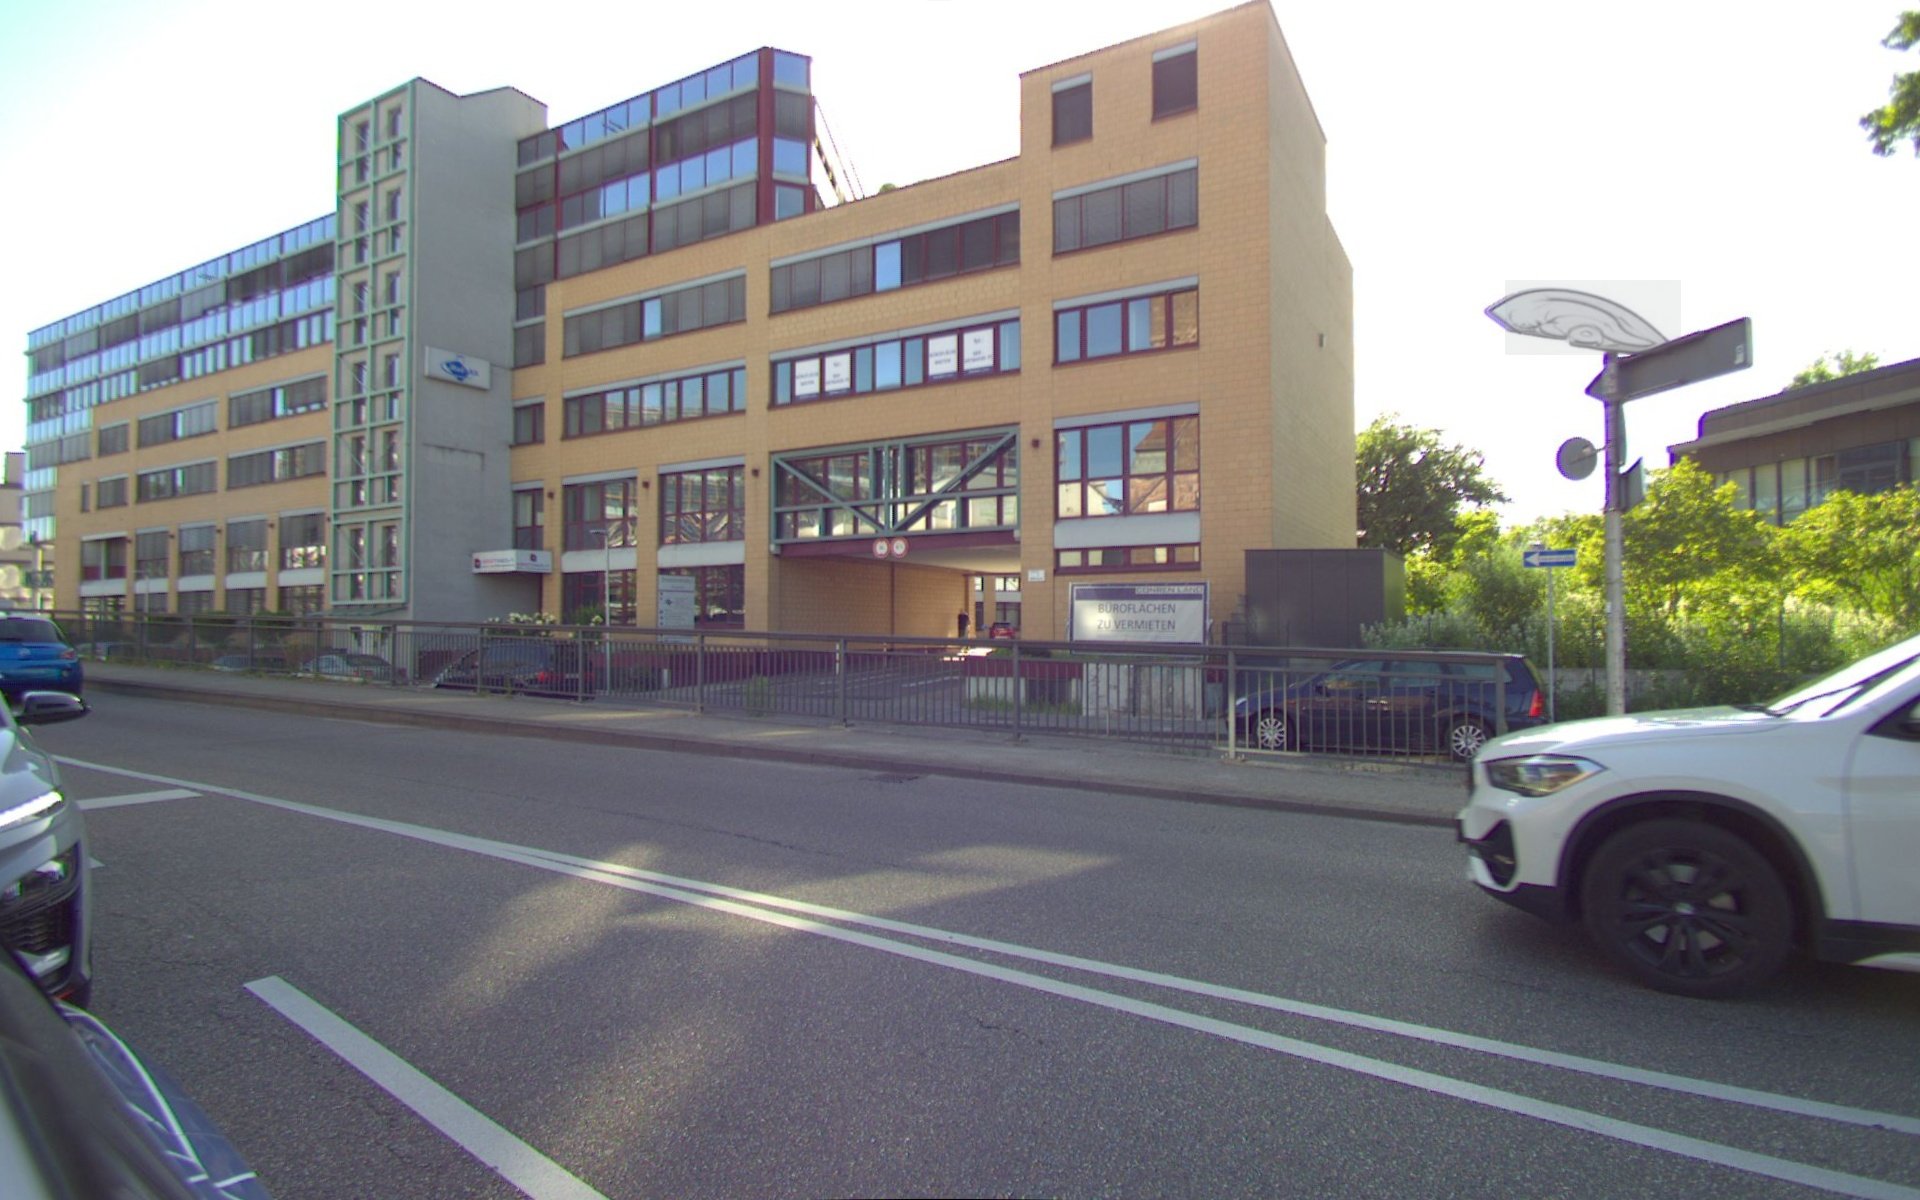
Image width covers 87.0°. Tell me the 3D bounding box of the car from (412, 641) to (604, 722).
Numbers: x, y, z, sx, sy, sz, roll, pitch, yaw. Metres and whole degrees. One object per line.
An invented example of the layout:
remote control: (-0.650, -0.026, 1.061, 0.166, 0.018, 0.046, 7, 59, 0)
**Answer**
car: (-11.165, 1.928, 24.944, 4.667, 1.771, 1.938, -1, -1, 29)

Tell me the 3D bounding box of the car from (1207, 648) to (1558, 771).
car: (6.047, 1.466, 14.696, 4.438, 1.515, 1.805, -2, -3, 33)

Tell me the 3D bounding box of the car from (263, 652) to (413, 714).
car: (-17.752, 2.310, 28.865, 4.340, 1.616, 1.807, -1, -3, 30)

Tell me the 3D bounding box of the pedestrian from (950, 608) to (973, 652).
pedestrian: (0.063, 1.272, 42.674, 0.676, 1.858, 0.779, -2, -3, 28)

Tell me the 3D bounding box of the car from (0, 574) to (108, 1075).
car: (-5.060, 0.718, 4.054, 4.218, 1.582, 1.826, -1, -1, 40)

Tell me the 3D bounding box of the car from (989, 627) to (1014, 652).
car: (2.736, 2.602, 66.733, 1.621, 1.586, 3.150, -1, -2, 2)

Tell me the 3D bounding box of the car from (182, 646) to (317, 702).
car: (-22.292, 2.257, 31.716, 4.340, 1.616, 1.807, -1, -3, 30)

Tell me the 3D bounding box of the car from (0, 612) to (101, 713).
car: (-16.511, 0.964, 16.949, 4.433, 1.515, 1.807, 1, -2, 30)

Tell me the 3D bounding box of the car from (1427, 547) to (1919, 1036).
car: (4.422, 0.659, 3.796, 4.616, 1.666, 1.818, -2, -3, 34)
